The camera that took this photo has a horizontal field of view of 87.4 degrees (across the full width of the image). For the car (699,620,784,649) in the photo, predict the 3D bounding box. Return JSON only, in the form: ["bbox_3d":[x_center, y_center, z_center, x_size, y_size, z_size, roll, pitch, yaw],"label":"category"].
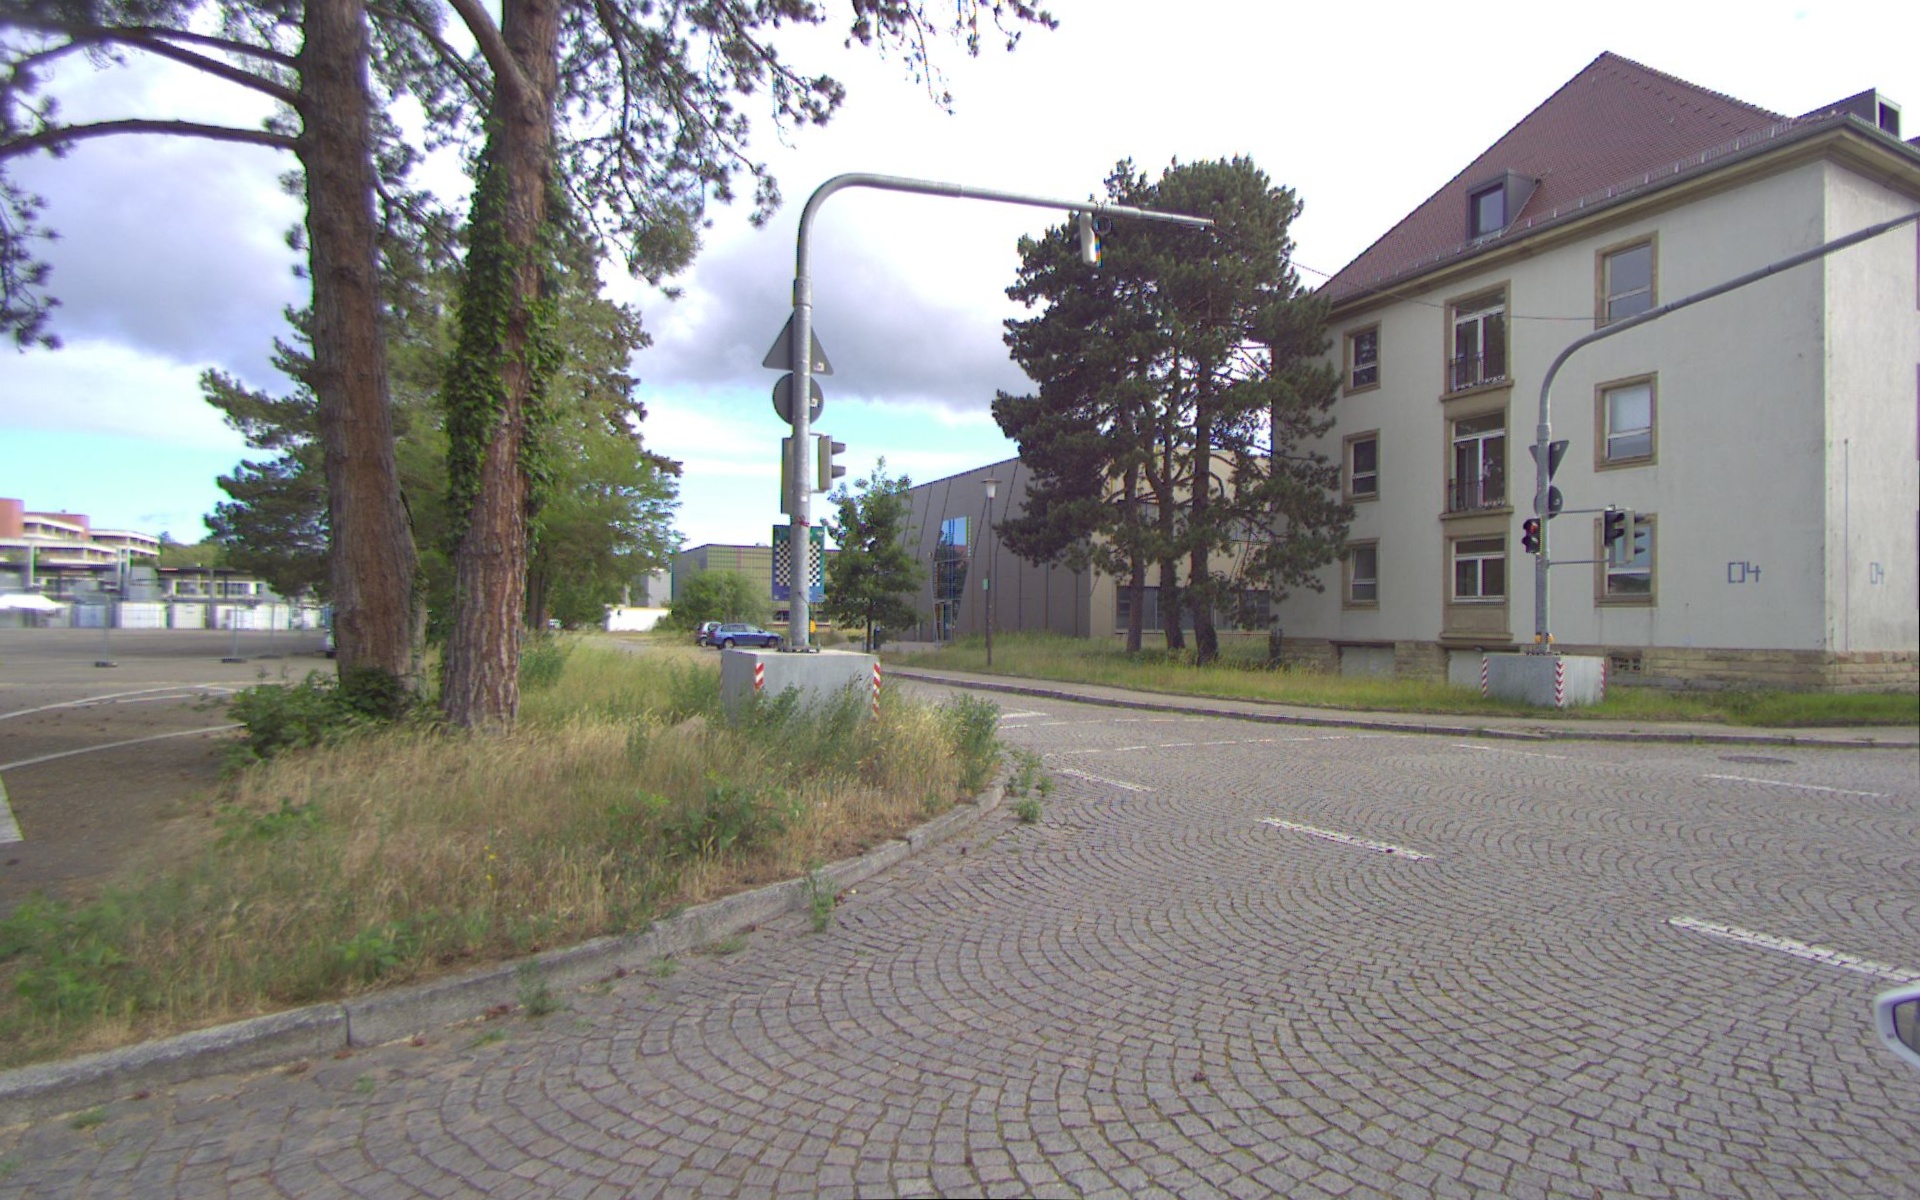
[{"bbox_3d":[-12.777,1.990,58.809,4.479,1.552,1.984,0,-1,-31],"label":"car"}]

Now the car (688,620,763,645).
[{"bbox_3d":[-15.347,2.118,65.786,4.473,1.552,1.987,0,-1,-27],"label":"car"}]

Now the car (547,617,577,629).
[{"bbox_3d":[-63.671,3.656,160.644,4.311,1.803,1.913,1,-1,-26],"label":"car"}]
